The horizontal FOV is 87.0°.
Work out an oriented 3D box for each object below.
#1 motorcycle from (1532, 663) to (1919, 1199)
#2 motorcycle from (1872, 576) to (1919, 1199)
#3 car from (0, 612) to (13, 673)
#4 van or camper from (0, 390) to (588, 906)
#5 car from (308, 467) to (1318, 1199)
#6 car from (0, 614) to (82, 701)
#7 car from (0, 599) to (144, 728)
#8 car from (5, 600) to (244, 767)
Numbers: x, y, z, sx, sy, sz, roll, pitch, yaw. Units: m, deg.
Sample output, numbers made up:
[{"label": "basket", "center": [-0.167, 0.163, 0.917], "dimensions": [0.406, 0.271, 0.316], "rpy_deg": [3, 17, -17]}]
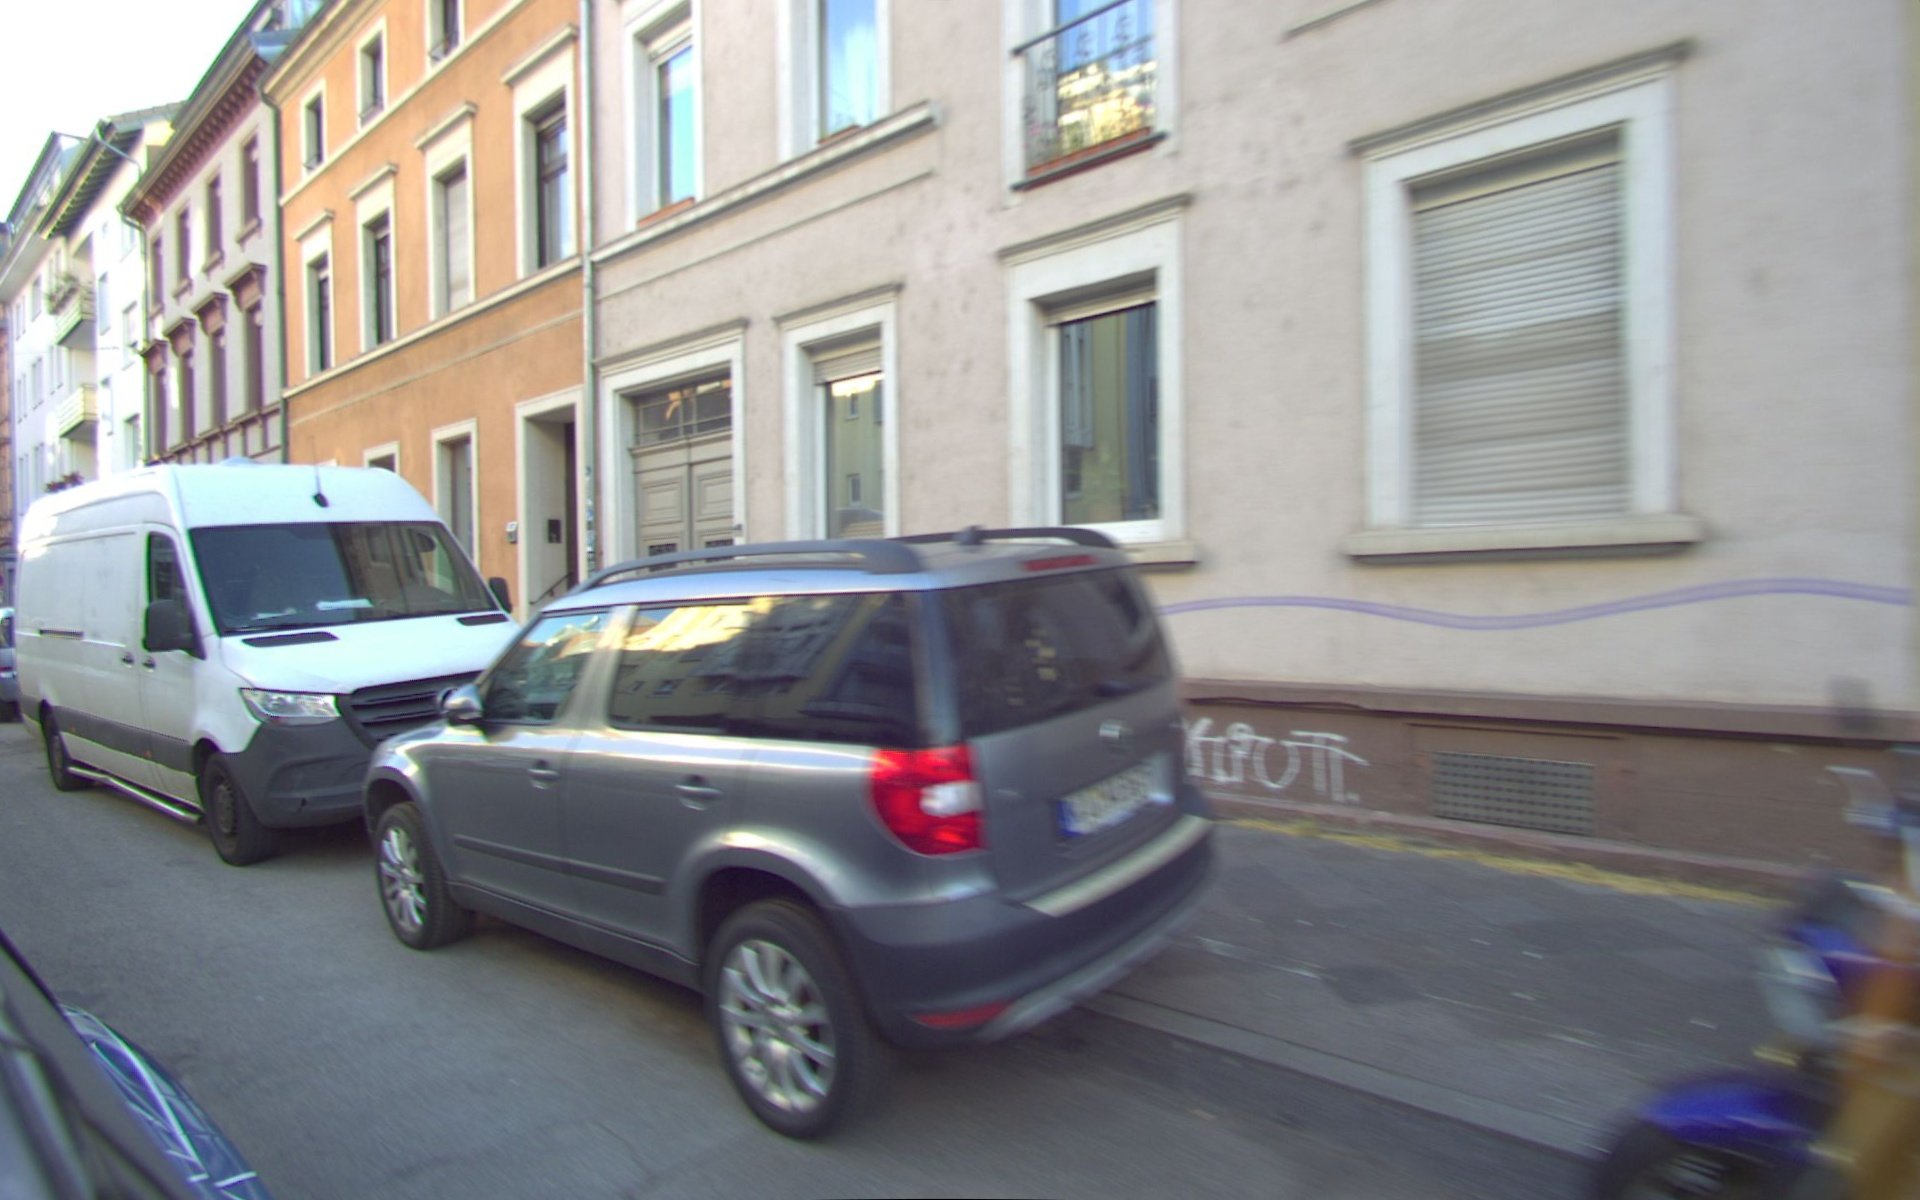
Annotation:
[{"label": "motorcycle", "center": [2.211, 0.757, 1.305], "dimensions": [2.472, 1.243, 0.703], "rpy_deg": [-1, 0, 39]}, {"label": "motorcycle", "center": [2.941, 0.632, 1.832], "dimensions": [1.847, 1.400, 0.698], "rpy_deg": [-1, 0, 39]}, {"label": "car", "center": [-25.823, 1.158, 26.253], "dimensions": [1.650, 1.496, 3.608], "rpy_deg": [-8, 5, -44]}, {"label": "van or camper", "center": [-5.859, 0.295, 8.251], "dimensions": [7.133, 2.669, 1.930], "rpy_deg": [-1, -1, 39]}, {"label": "car", "center": [-0.951, 0.602, 4.311], "dimensions": [4.289, 1.764, 1.845], "rpy_deg": [-1, 0, 40]}, {"label": "car", "center": [-18.172, 1.061, 19.236], "dimensions": [3.283, 1.458, 1.641], "rpy_deg": [-1, 3, 40]}, {"label": "car", "center": [-14.183, 0.897, 15.585], "dimensions": [3.976, 1.656, 1.694], "rpy_deg": [-1, 2, 40]}, {"label": "car", "center": [-10.165, 0.887, 12.232], "dimensions": [3.650, 1.698, 1.574], "rpy_deg": [-1, 0, 40]}]
